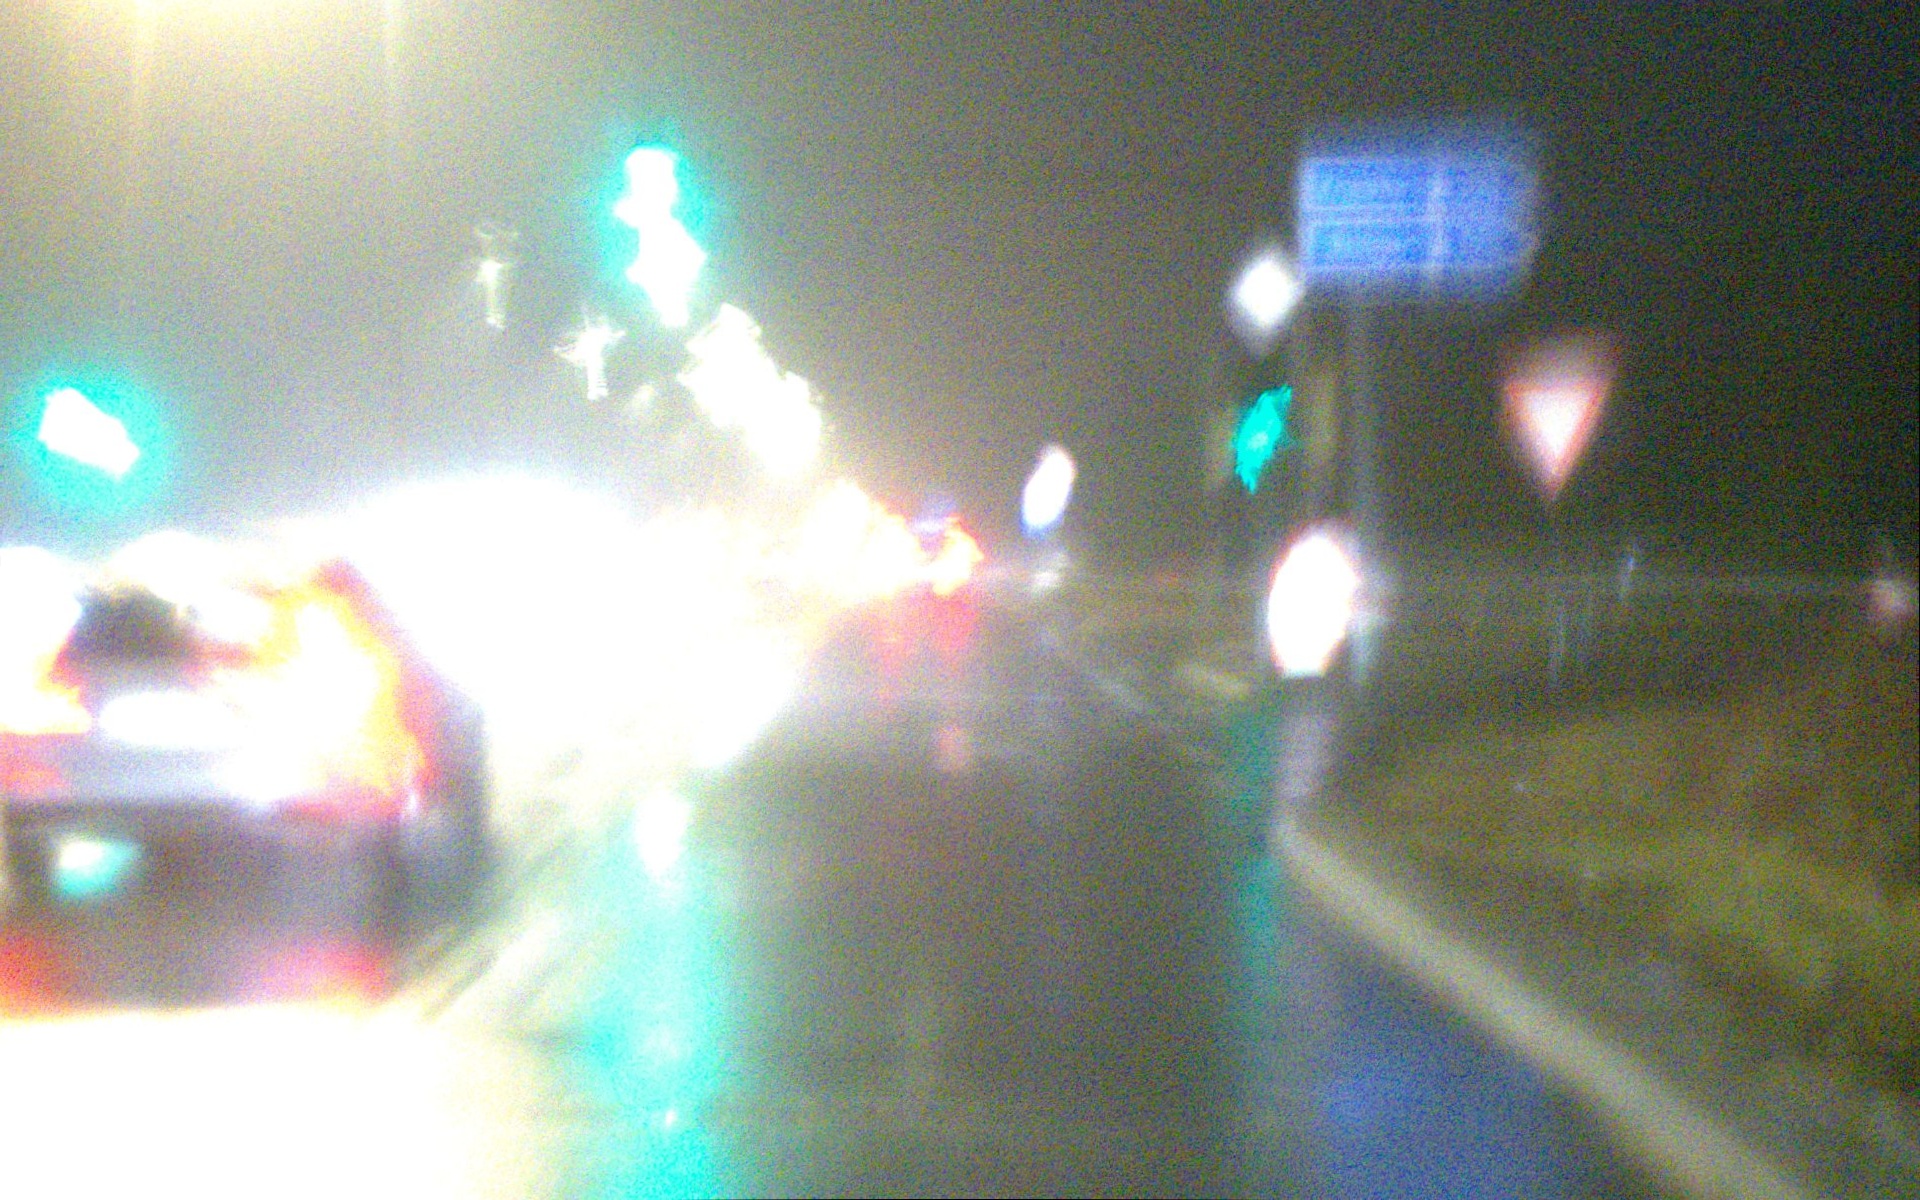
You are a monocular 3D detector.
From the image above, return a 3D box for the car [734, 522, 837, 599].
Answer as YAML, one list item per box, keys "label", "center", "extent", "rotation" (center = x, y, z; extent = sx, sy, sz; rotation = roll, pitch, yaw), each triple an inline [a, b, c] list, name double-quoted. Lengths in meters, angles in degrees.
- label: "car"
  center: [-4.204, -0.934, 83.265]
  extent: [2.177, 1.596, 4.000]
  rotation: [4, -1, 0]

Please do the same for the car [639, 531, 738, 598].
- label: "car"
  center: [-7.652, -0.983, 97.212]
  extent: [2.178, 1.596, 3.999]
  rotation: [4, -1, 3]

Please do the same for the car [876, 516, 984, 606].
- label: "car"
  center: [-0.597, -0.789, 71.449]
  extent: [1.910, 1.596, 3.999]
  rotation: [4, -1, 3]

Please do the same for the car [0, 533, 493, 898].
- label: "car"
  center: [-3.302, 0.426, 15.998]
  extent: [1.796, 1.447, 4.269]
  rotation: [1, 1, -2]

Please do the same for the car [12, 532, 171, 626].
- label: "car"
  center: [-16.225, -0.417, 64.415]
  extent: [1.782, 1.603, 4.244]
  rotation: [-3, 1, 1]

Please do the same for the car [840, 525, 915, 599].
- label: "car"
  center: [-2.386, -1.098, 100.496]
  extent: [1.993, 1.832, 4.000]
  rotation: [5, -2, 0]
